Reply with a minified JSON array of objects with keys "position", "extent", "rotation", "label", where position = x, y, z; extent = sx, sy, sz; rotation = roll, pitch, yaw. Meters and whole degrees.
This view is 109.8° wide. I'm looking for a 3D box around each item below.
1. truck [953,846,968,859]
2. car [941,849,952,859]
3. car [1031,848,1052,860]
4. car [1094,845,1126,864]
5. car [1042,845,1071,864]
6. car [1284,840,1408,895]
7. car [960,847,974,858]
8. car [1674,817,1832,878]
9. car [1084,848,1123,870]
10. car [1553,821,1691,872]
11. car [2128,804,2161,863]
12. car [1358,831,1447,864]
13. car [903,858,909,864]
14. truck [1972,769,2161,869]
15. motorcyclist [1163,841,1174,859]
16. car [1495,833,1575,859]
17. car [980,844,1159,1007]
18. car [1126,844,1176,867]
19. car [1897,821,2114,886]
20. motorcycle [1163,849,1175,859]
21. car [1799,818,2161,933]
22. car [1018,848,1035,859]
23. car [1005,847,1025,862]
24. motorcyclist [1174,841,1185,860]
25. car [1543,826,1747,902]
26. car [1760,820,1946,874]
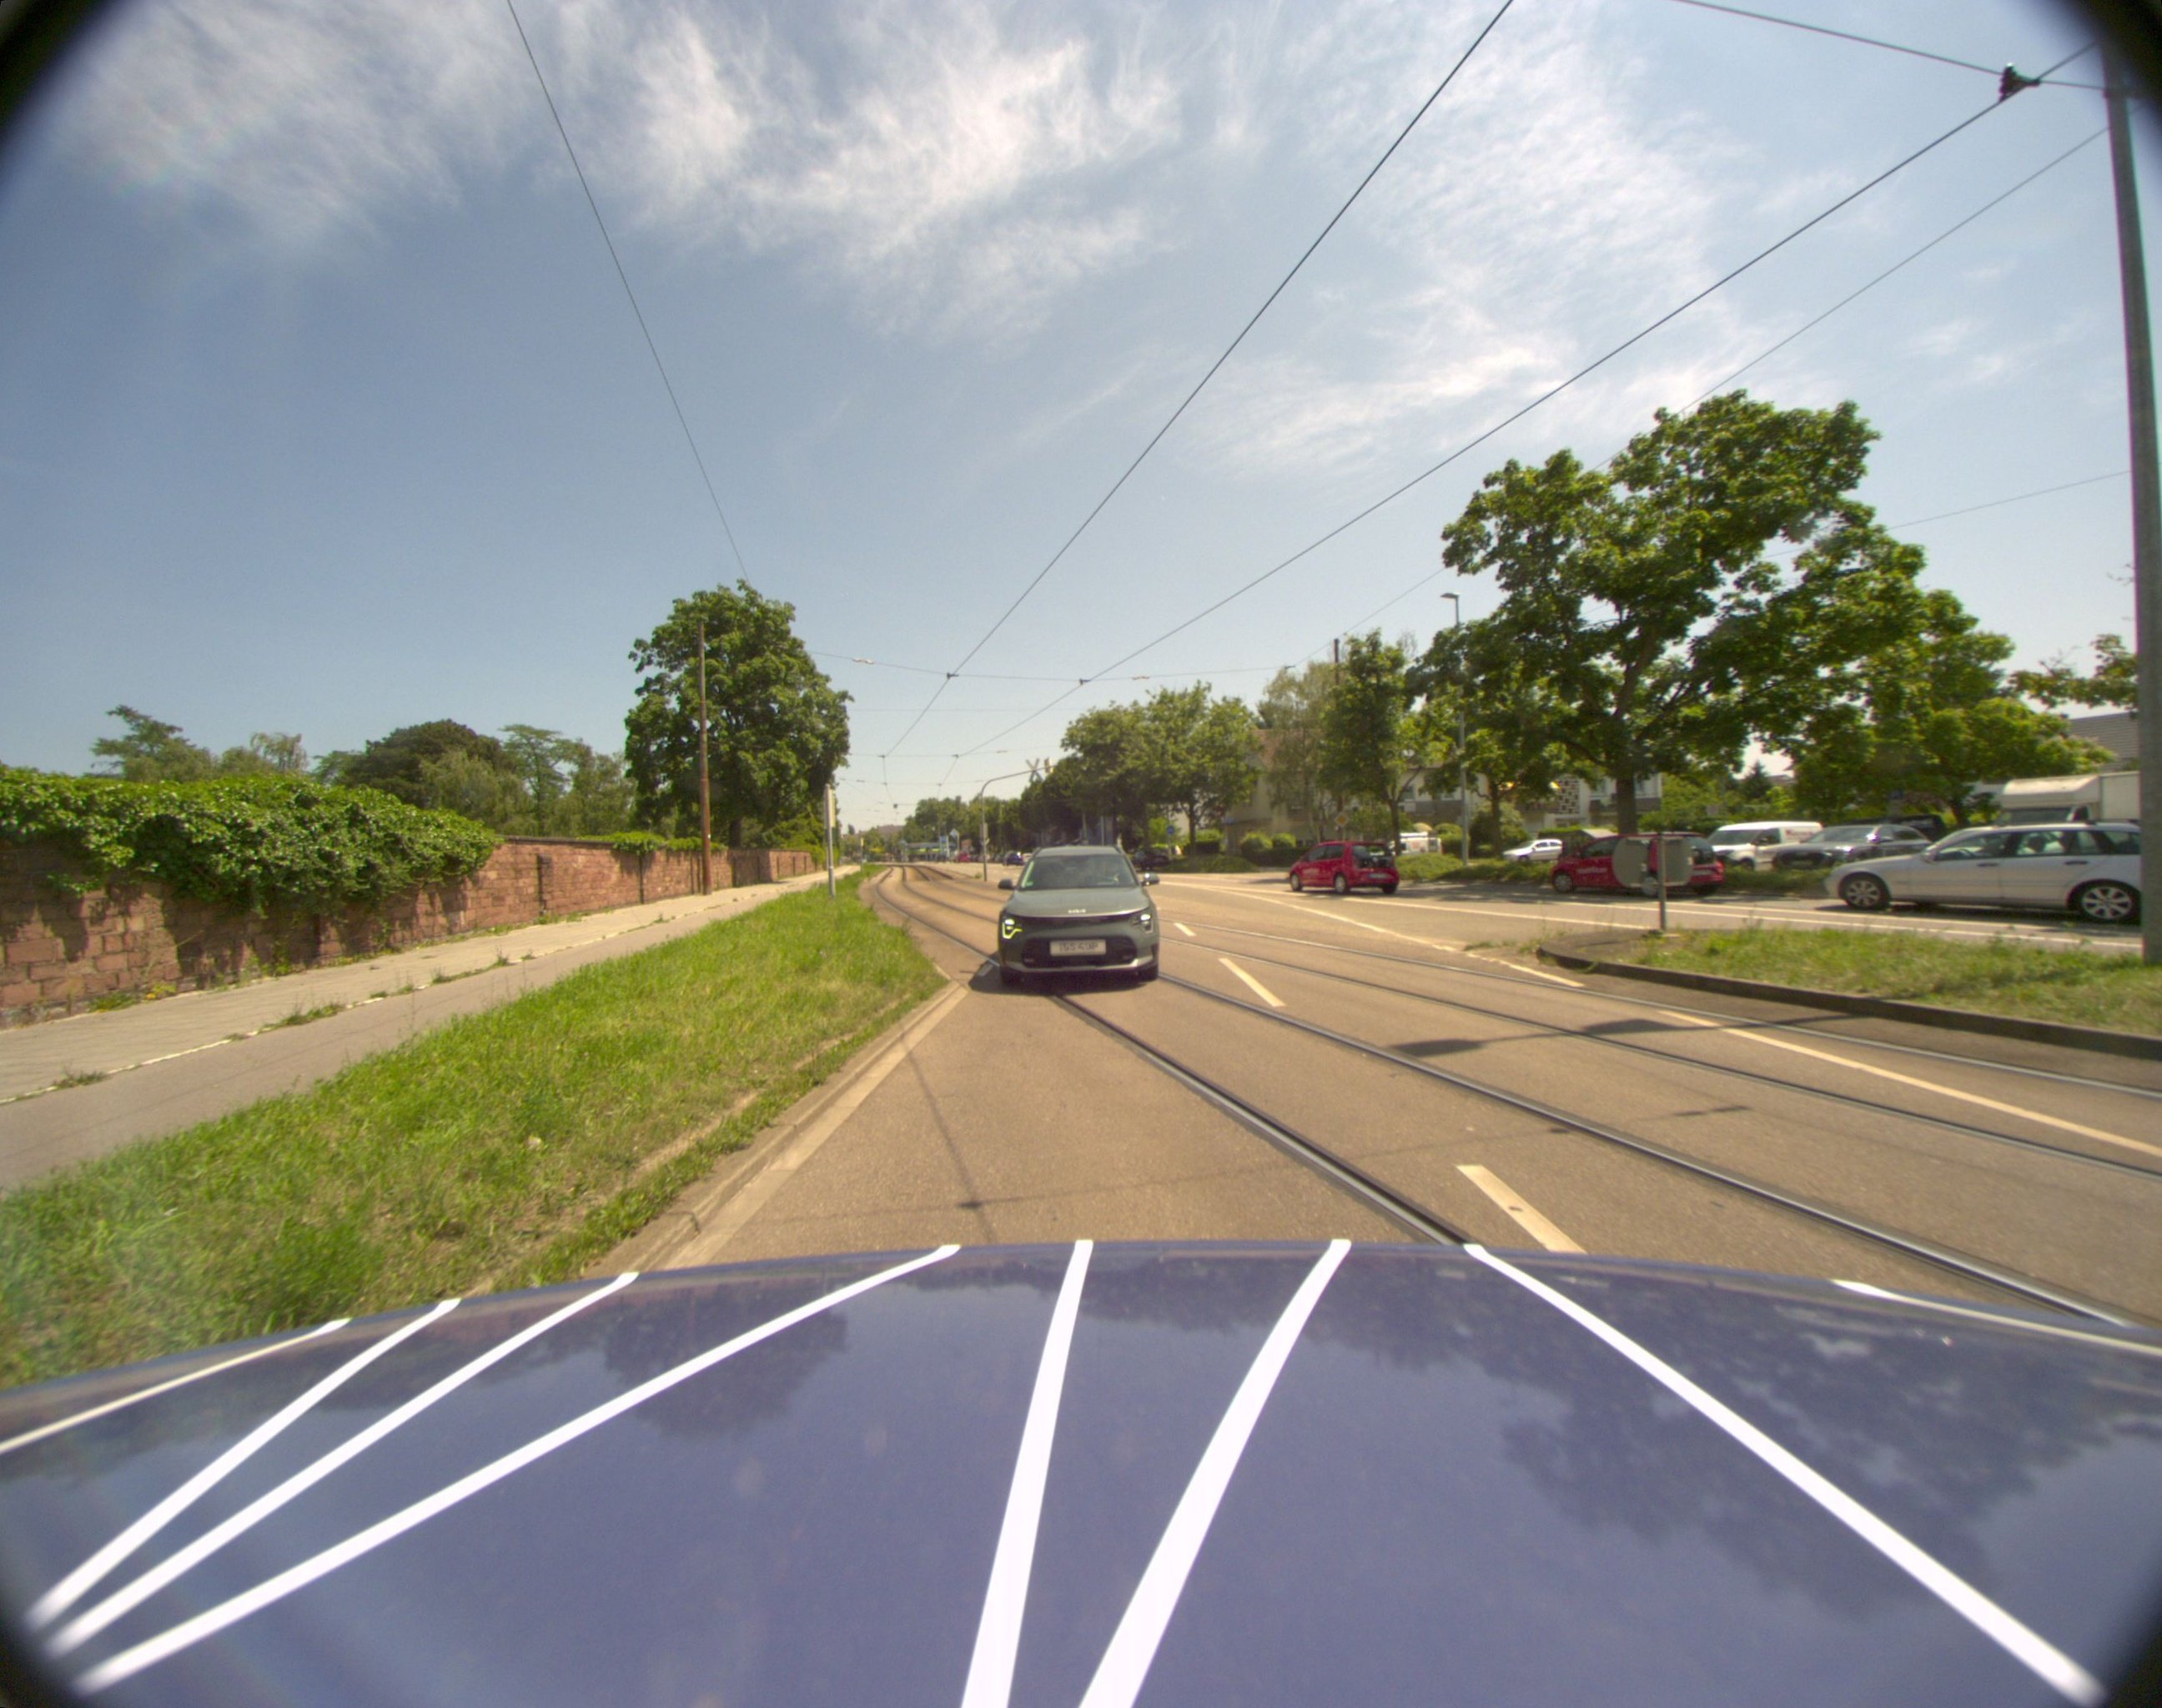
[{"position":[-26.876,-0.269,169.498],"extent":[2.137,2.566,4.855],"rotation":[-6,2,-22],"label":"truck"},{"position":[-28.462,0.013,160.928],"extent":[1.925,1.899,4.565],"rotation":[-1,0,-13],"label":"car"},{"position":[-5.125,-0.007,97.574],"extent":[1.682,1.487,4.632],"rotation":[-2,1,-15],"label":"car"},{"position":[2.511,0.051,66.149],"extent":[1.682,1.478,4.123],"rotation":[-3,1,-14],"label":"car"},{"position":[-2.163,0.042,66.256],"extent":[1.743,1.566,3.708],"rotation":[-1,1,-13],"label":"car"},{"position":[7.421,0.343,21.625],"extent":[1.663,1.402,3.601],"rotation":[-1,1,-13],"label":"car"},{"position":[-20.415,-0.337,136.136],"extent":[1.906,1.915,4.813],"rotation":[-2,1,-15],"label":"car"},{"position":[22.082,-0.227,24.998],"extent":[4.282,1.825,1.671],"rotation":[-2,1,-12],"label":"car"},{"position":[1.426,0.300,49.403],"extent":[1.654,1.368,3.806],"rotation":[0,1,-13],"label":"car"},{"position":[21.536,-0.317,30.293],"extent":[4.464,1.846,2.058],"rotation":[-2,1,-14],"label":"car"},{"position":[35.947,-0.733,24.179],"extent":[4.142,1.810,1.645],"rotation":[-3,1,-14],"label":"car"},{"position":[17.931,-0.368,42.498],"extent":[4.232,1.697,1.741],"rotation":[-2,1,2],"label":"car"},{"position":[-56.449,2.267,244.866],"extent":[1.867,1.487,3.466],"rotation":[-6,2,-15],"label":"car"},{"position":[35.509,-1.268,26.984],"extent":[7.003,3.209,2.148],"rotation":[-3,1,-15],"label":"truck"},{"position":[7.497,-0.344,64.953],"extent":[0.588,1.494,0.724],"rotation":[-5,2,-12],"label":"motorcyclist"},{"position":[26.940,-0.487,45.122],"extent":[3.906,1.385,1.545],"rotation":[-2,1,-4],"label":"car"},{"position":[0.074,0.718,10.018],"extent":[1.758,1.574,4.428],"rotation":[-3,1,5],"label":"car"},{"position":[4.960,0.114,54.593],"extent":[1.901,1.448,4.803],"rotation":[-3,1,-16],"label":"car"},{"position":[24.483,-0.030,20.188],"extent":[4.136,1.500,1.930],"rotation":[-2,1,-11],"label":"car"},{"position":[7.517,-0.031,64.986],"extent":[0.528,0.821,1.369],"rotation":[-5,1,-12],"label":"motorcycle"},{"position":[14.717,0.261,11.920],"extent":[1.725,1.419,4.764],"rotation":[-6,2,-15],"label":"car"},{"position":[-7.686,-0.073,107.062],"extent":[1.658,1.487,3.644],"rotation":[-2,1,-15],"label":"car"},{"position":[-7.665,0.037,87.959],"extent":[1.743,1.647,4.061],"rotation":[-1,1,-13],"label":"car"},{"position":[8.110,-0.289,62.409],"extent":[0.588,1.494,0.661],"rotation":[-5,2,-12],"label":"motorcyclist"},{"position":[13.195,0.175,18.083],"extent":[1.677,1.537,3.722],"rotation":[-3,2,-11],"label":"car"},{"position":[22.391,-0.218,22.086],"extent":[4.212,1.395,2.078],"rotation":[-2,1,-17],"label":"car"}]
